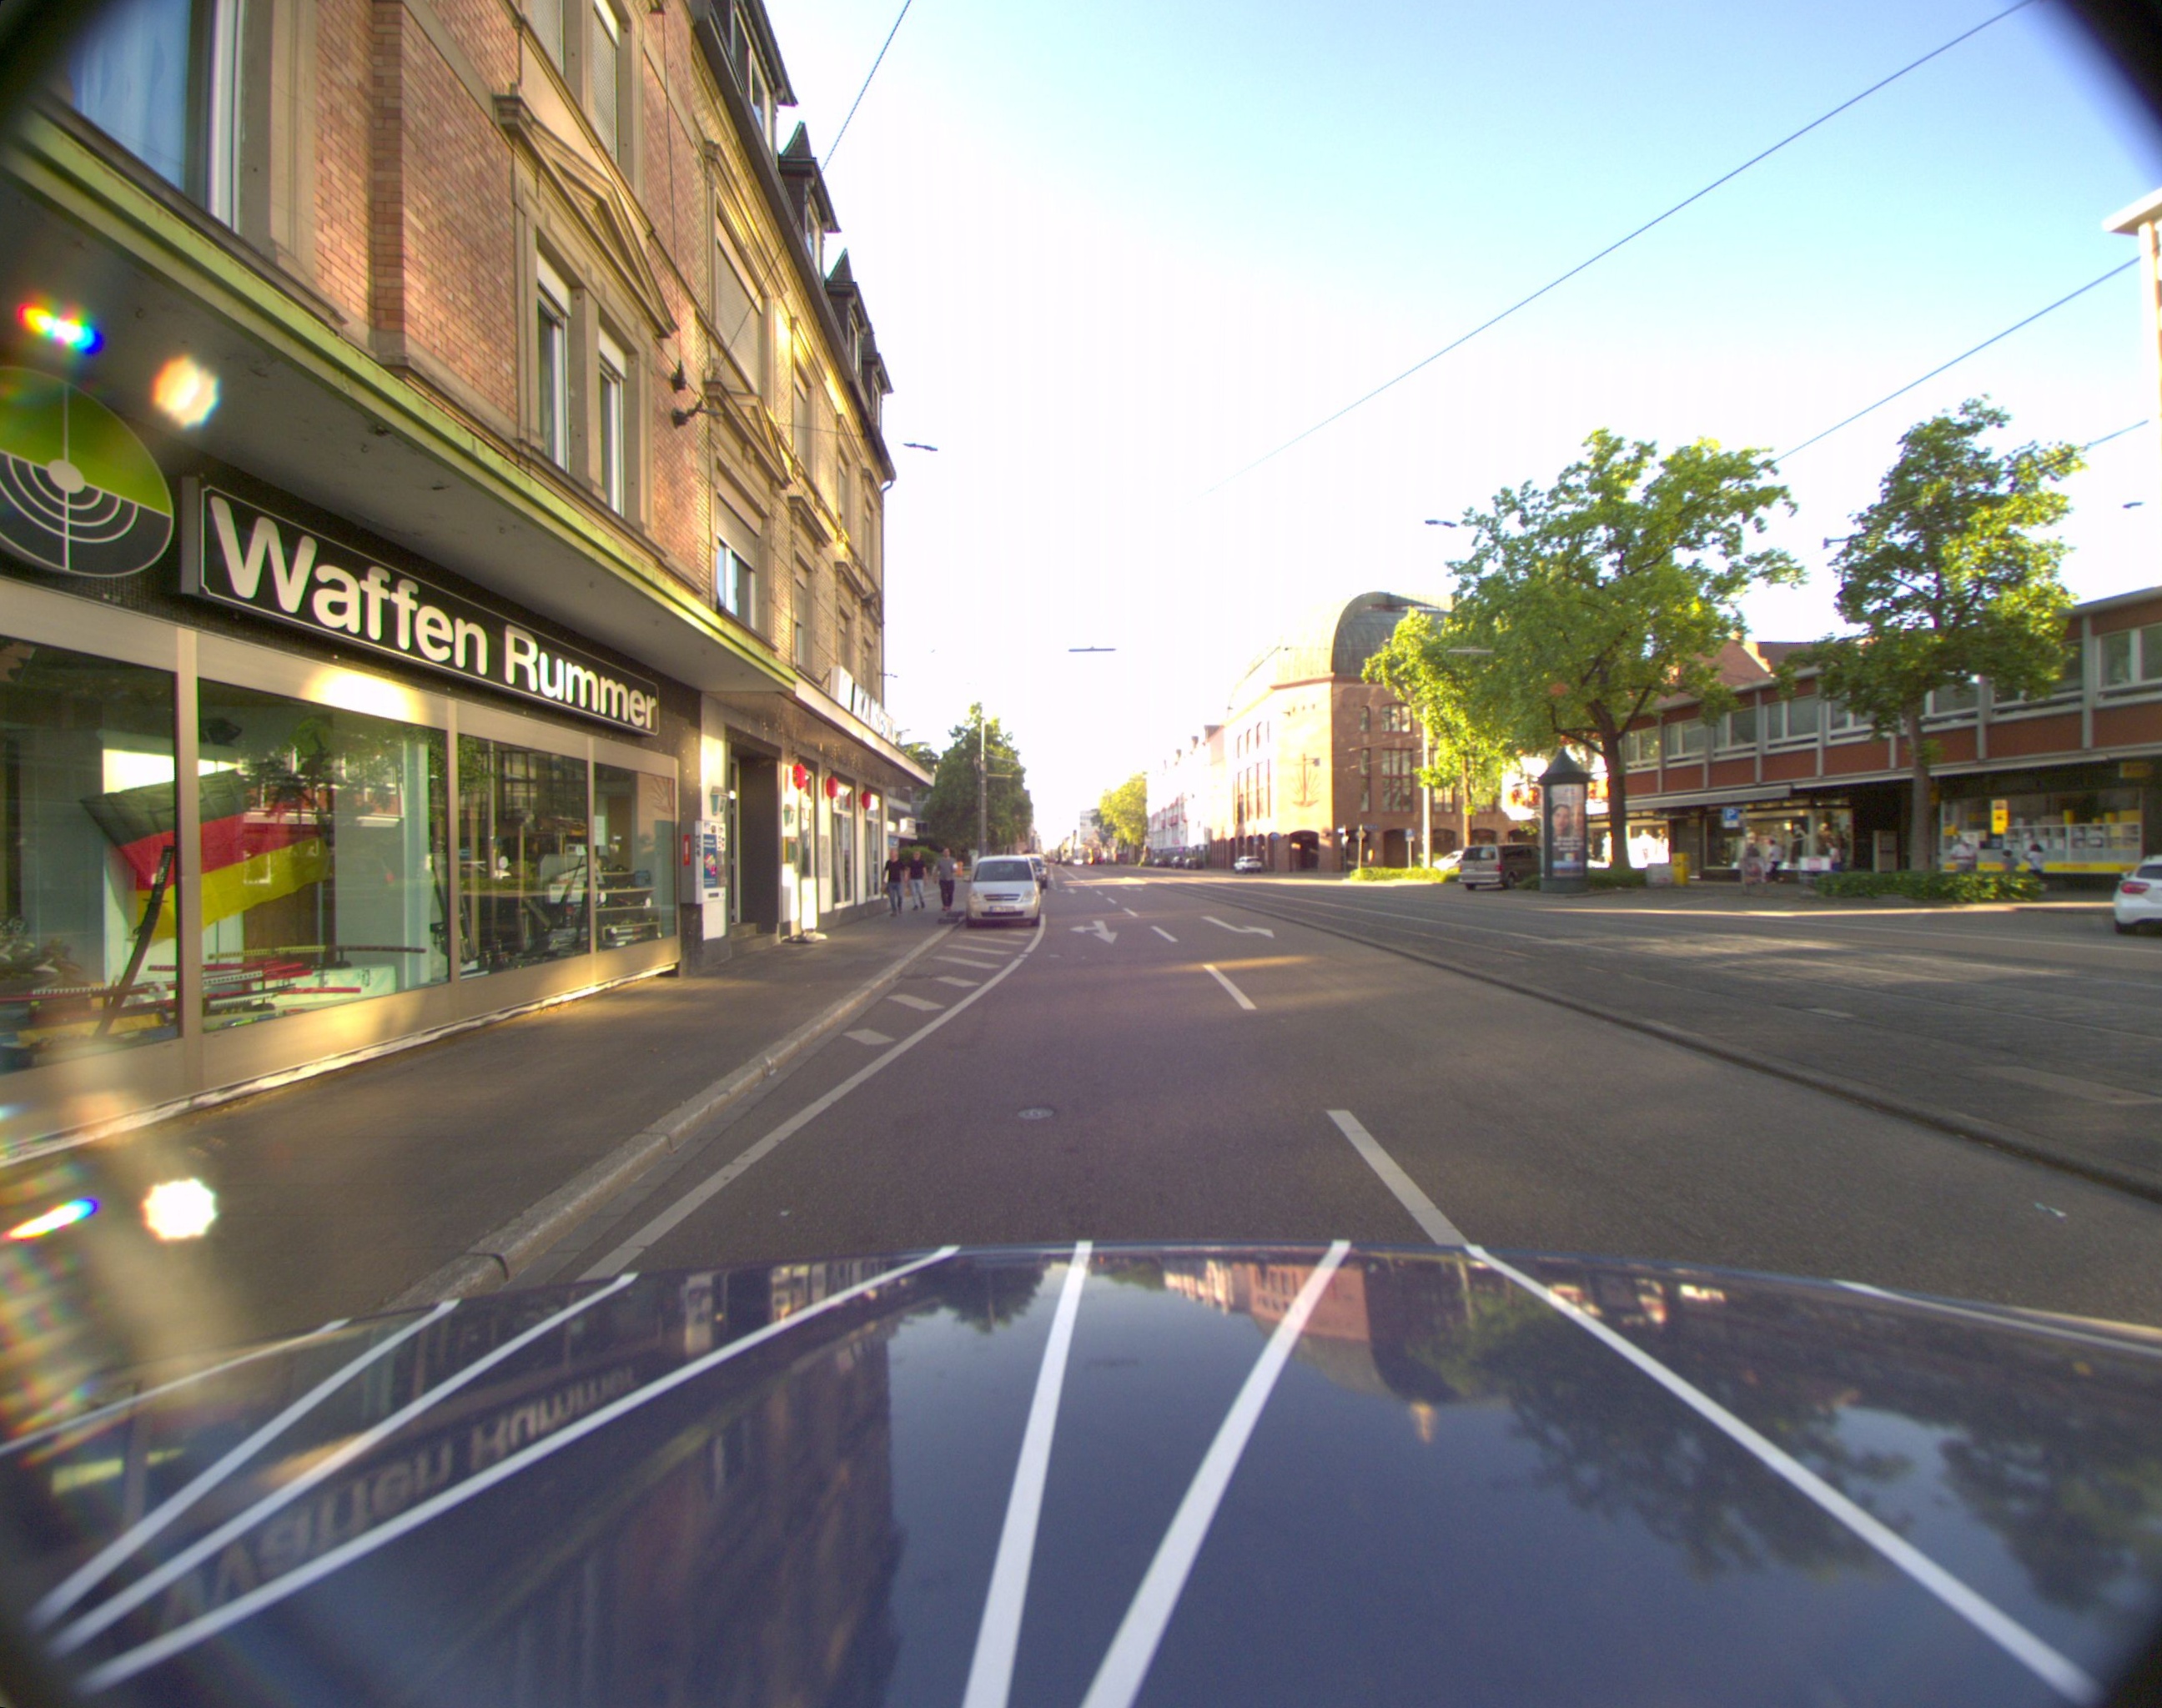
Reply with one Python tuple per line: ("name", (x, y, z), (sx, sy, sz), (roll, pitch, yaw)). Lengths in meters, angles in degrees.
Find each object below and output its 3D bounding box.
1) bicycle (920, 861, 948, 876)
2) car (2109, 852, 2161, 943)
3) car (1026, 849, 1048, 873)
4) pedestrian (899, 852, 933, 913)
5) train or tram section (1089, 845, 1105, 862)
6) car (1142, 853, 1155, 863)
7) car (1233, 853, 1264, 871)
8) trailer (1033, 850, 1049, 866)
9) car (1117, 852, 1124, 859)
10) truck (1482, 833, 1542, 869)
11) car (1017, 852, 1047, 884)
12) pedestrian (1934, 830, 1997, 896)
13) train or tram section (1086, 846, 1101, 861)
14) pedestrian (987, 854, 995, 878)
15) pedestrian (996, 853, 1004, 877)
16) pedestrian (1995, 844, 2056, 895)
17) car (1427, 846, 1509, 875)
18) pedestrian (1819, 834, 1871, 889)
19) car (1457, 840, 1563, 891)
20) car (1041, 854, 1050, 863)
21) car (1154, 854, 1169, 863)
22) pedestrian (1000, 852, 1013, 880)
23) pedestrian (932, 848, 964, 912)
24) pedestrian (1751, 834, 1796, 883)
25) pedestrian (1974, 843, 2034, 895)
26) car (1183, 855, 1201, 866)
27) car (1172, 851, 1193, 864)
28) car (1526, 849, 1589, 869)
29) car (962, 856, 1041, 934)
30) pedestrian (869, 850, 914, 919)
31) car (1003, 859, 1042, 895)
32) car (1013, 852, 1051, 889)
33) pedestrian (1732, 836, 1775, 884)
("bicycle", (-10.389, 1.029, 53.732), (1.886, 1.090, 0.469), (0, 1, -4))
("car", (20.653, 0.751, 14.039), (4.276, 1.421, 1.762), (-3, 1, -34))
("car", (-4.041, 0.624, 69.919), (1.882, 2.009, 4.904), (-2, 0, -2))
("pedestrian", (-4.856, 0.825, 22.441), (0.813, 1.746, 1.032), (0, 1, -3))
("train or tram section", (3.440, -0.059, 163.925), (2.683, 3.530, 12.837), (0, 0, -3))
("car", (12.311, 0.640, 139.199), (1.931, 1.787, 4.383), (-1, 0, 1))
("car", (15.523, 0.744, 70.730), (1.600, 1.581, 4.276), (-3, 0, -4))
("trailer", (-5.519, 0.496, 105.074), (1.784, 2.136, 5.315), (-2, 0, 0))
("car", (11.262, 0.451, 218.453), (1.861, 1.914, 3.999), (0, 0, -1))
("truck", (34.252, -0.252, 60.523), (1.856, 2.747, 4.528), (-1, 0, -7))
("car", (-2.899, 0.785, 45.259), (1.680, 1.797, 4.247), (-2, 0, -3))
("pedestrian", (25.748, 0.255, 22.138), (0.917, 1.867, 0.902), (0, 1, 26))
("train or tram section", (2.880, -0.154, 175.984), (2.683, 3.530, 11.123), (0, 0, -3))
("pedestrian", (-6.439, 0.826, 54.570), (0.494, 1.703, 0.437), (2, 1, -3))
("pedestrian", (-5.813, 0.810, 54.217), (0.494, 1.703, 0.437), (2, 1, -3))
("pedestrian", (28.061, 0.451, 22.584), (0.689, 1.462, 0.900), (-1, 0, -5))
("car", (28.547, 0.428, 56.087), (4.993, 1.957, 2.130), (-1, 3, -4))
("pedestrian", (26.530, 0.266, 26.412), (0.919, 1.867, 0.900), (-1, 1, -5))
("car", (18.645, 0.456, 32.912), (5.130, 1.918, 1.849), (-3, 2, -34))
("car", (-5.768, 0.790, 124.979), (1.420, 1.425, 3.871), (-2, 0, -3))
("car", (13.055, 0.710, 123.174), (1.829, 1.500, 4.559), (-2, 0, -2))
("pedestrian", (-4.635, 0.746, 47.359), (0.789, 1.727, 0.945), (-1, 1, -3))
("pedestrian", (-3.970, 0.754, 22.754), (0.796, 1.888, 1.032), (0, 1, -3))
("pedestrian", (27.840, 0.191, 30.557), (0.996, 1.937, 0.900), (-1, 1, -5))
("pedestrian", (27.351, 0.439, 22.532), (0.689, 1.488, 0.900), (-1, 0, -5))
("car", (14.228, 0.792, 97.452), (1.646, 1.392, 3.682), (-2, 0, -2))
("car", (13.955, 0.453, 104.331), (1.964, 1.690, 4.559), (-2, 0, -4))
("car", (38.045, 0.384, 60.758), (1.856, 1.564, 4.528), (-1, 0, -7))
("car", (-1.824, 0.876, 18.199), (1.642, 1.605, 3.943), (-1, 0, -4))
("pedestrian", (-4.902, 0.774, 19.748), (0.903, 1.703, 1.032), (2, 0, -3))
("car", (-2.699, 1.018, 35.312), (1.642, 1.484, 3.793), (-3, 0, -4))
("car", (-2.577, 0.811, 40.553), (1.825, 1.747, 4.473), (-2, 1, -3))
("pedestrian", (26.726, 0.244, 30.207), (0.919, 1.867, 0.900), (-1, 1, -5))
